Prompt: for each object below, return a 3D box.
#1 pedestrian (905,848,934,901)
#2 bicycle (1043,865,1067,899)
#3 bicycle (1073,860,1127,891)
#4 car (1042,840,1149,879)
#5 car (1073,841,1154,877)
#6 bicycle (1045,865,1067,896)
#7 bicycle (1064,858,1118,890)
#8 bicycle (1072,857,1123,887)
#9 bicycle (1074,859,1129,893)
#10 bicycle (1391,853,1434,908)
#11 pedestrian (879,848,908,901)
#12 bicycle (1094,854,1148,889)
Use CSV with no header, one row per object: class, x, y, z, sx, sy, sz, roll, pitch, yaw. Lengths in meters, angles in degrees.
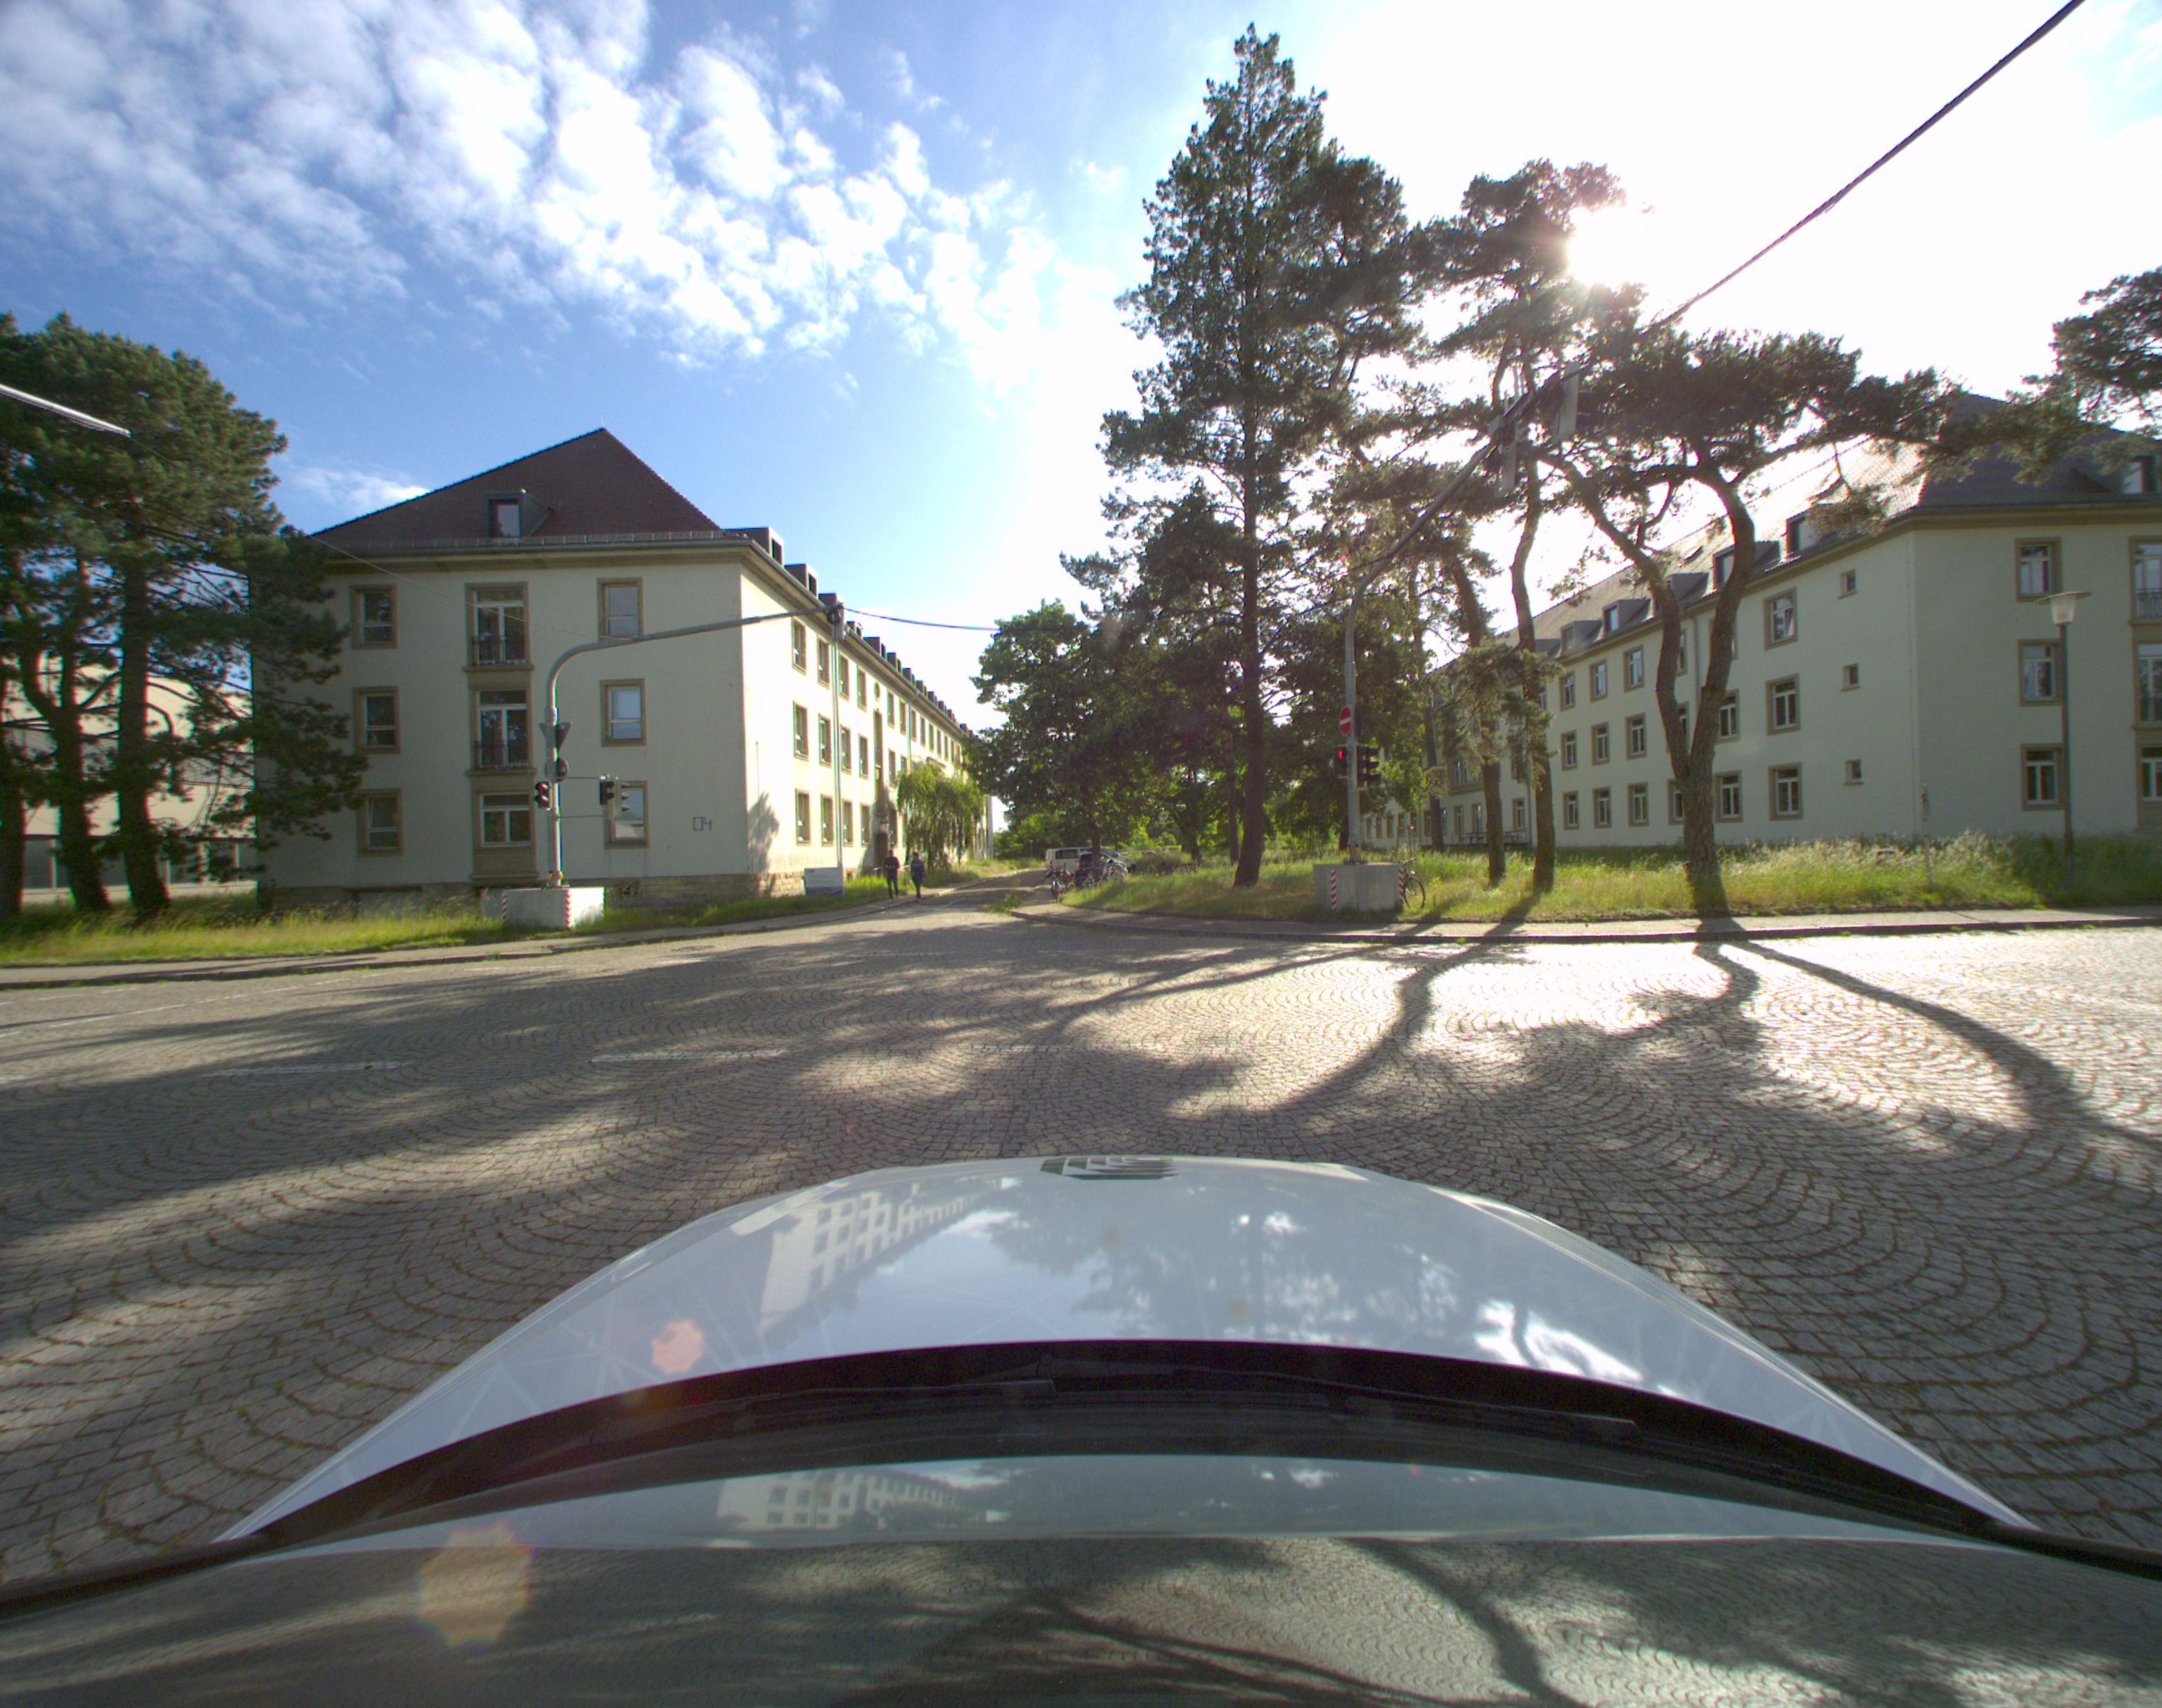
pedestrian,-5.714,0.722,28.827,0.762,1.817,0.684,-2,0,11
bicycle,-0.805,0.859,25.373,0.693,0.971,1.860,-1,0,-1
bicycle,0.651,0.757,28.846,1.850,1.031,0.749,-2,0,-3
car,0.775,0.322,46.931,5.923,2.013,2.470,-2,0,-6
car,1.657,0.251,42.591,3.983,1.684,1.843,-2,0,-7
bicycle,-0.831,0.870,27.323,0.693,0.971,1.860,-1,0,-1
bicycle,0.371,0.756,30.857,1.951,1.129,0.642,-2,0,-26
bicycle,0.636,0.701,31.957,1.937,1.129,0.647,-2,0,-5
bicycle,0.732,0.795,29.646,1.936,1.129,0.749,-2,0,-3
bicycle,6.768,0.531,16.666,0.464,1.080,1.175,-2,0,4
pedestrian,-6.649,0.727,28.880,0.806,1.817,0.557,-2,0,11
bicycle,1.492,0.659,30.334,1.936,1.235,0.485,-2,0,-3
